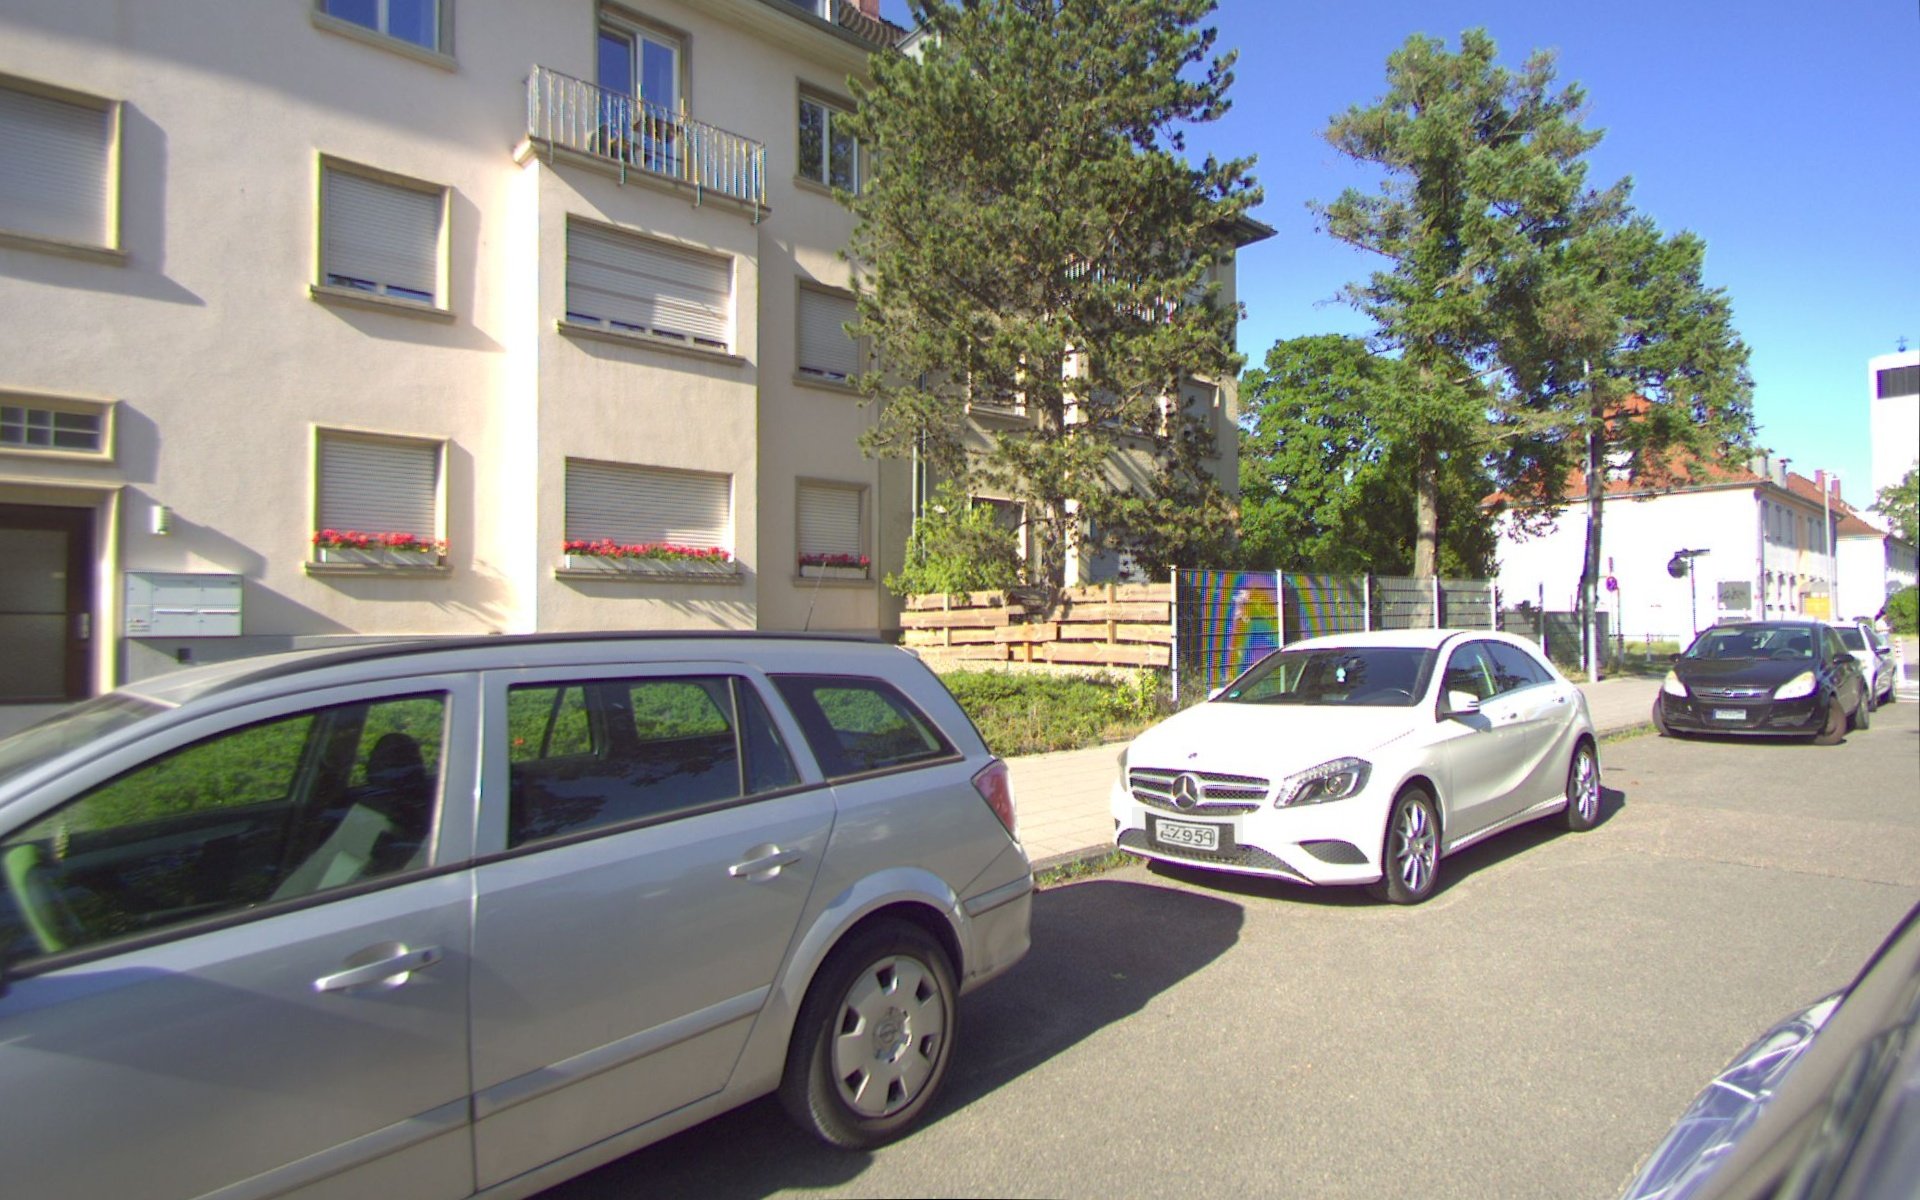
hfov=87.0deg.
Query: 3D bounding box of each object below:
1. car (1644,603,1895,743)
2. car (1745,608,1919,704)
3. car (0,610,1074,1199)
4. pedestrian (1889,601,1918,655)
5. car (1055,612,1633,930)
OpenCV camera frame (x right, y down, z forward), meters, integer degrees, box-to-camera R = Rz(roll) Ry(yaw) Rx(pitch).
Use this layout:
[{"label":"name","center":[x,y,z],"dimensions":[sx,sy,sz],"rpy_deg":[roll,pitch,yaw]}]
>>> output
[{"label":"car","center":[10.545,0.846,13.099],"dimensions":[3.925,1.530,1.796],"rpy_deg":[0,-3,-41]},{"label":"car","center":[15.035,0.902,17.347],"dimensions":[4.062,1.441,1.674],"rpy_deg":[0,-3,-41]},{"label":"car","center":[-1.744,0.805,2.495],"dimensions":[4.339,1.484,1.659],"rpy_deg":[0,-3,-45]},{"label":"pedestrian","center":[30.369,0.894,32.580],"dimensions":[0.647,1.688,0.640],"rpy_deg":[0,1,42]},{"label":"car","center":[2.763,0.851,6.782],"dimensions":[4.213,1.439,1.796],"rpy_deg":[0,-3,-41]}]
